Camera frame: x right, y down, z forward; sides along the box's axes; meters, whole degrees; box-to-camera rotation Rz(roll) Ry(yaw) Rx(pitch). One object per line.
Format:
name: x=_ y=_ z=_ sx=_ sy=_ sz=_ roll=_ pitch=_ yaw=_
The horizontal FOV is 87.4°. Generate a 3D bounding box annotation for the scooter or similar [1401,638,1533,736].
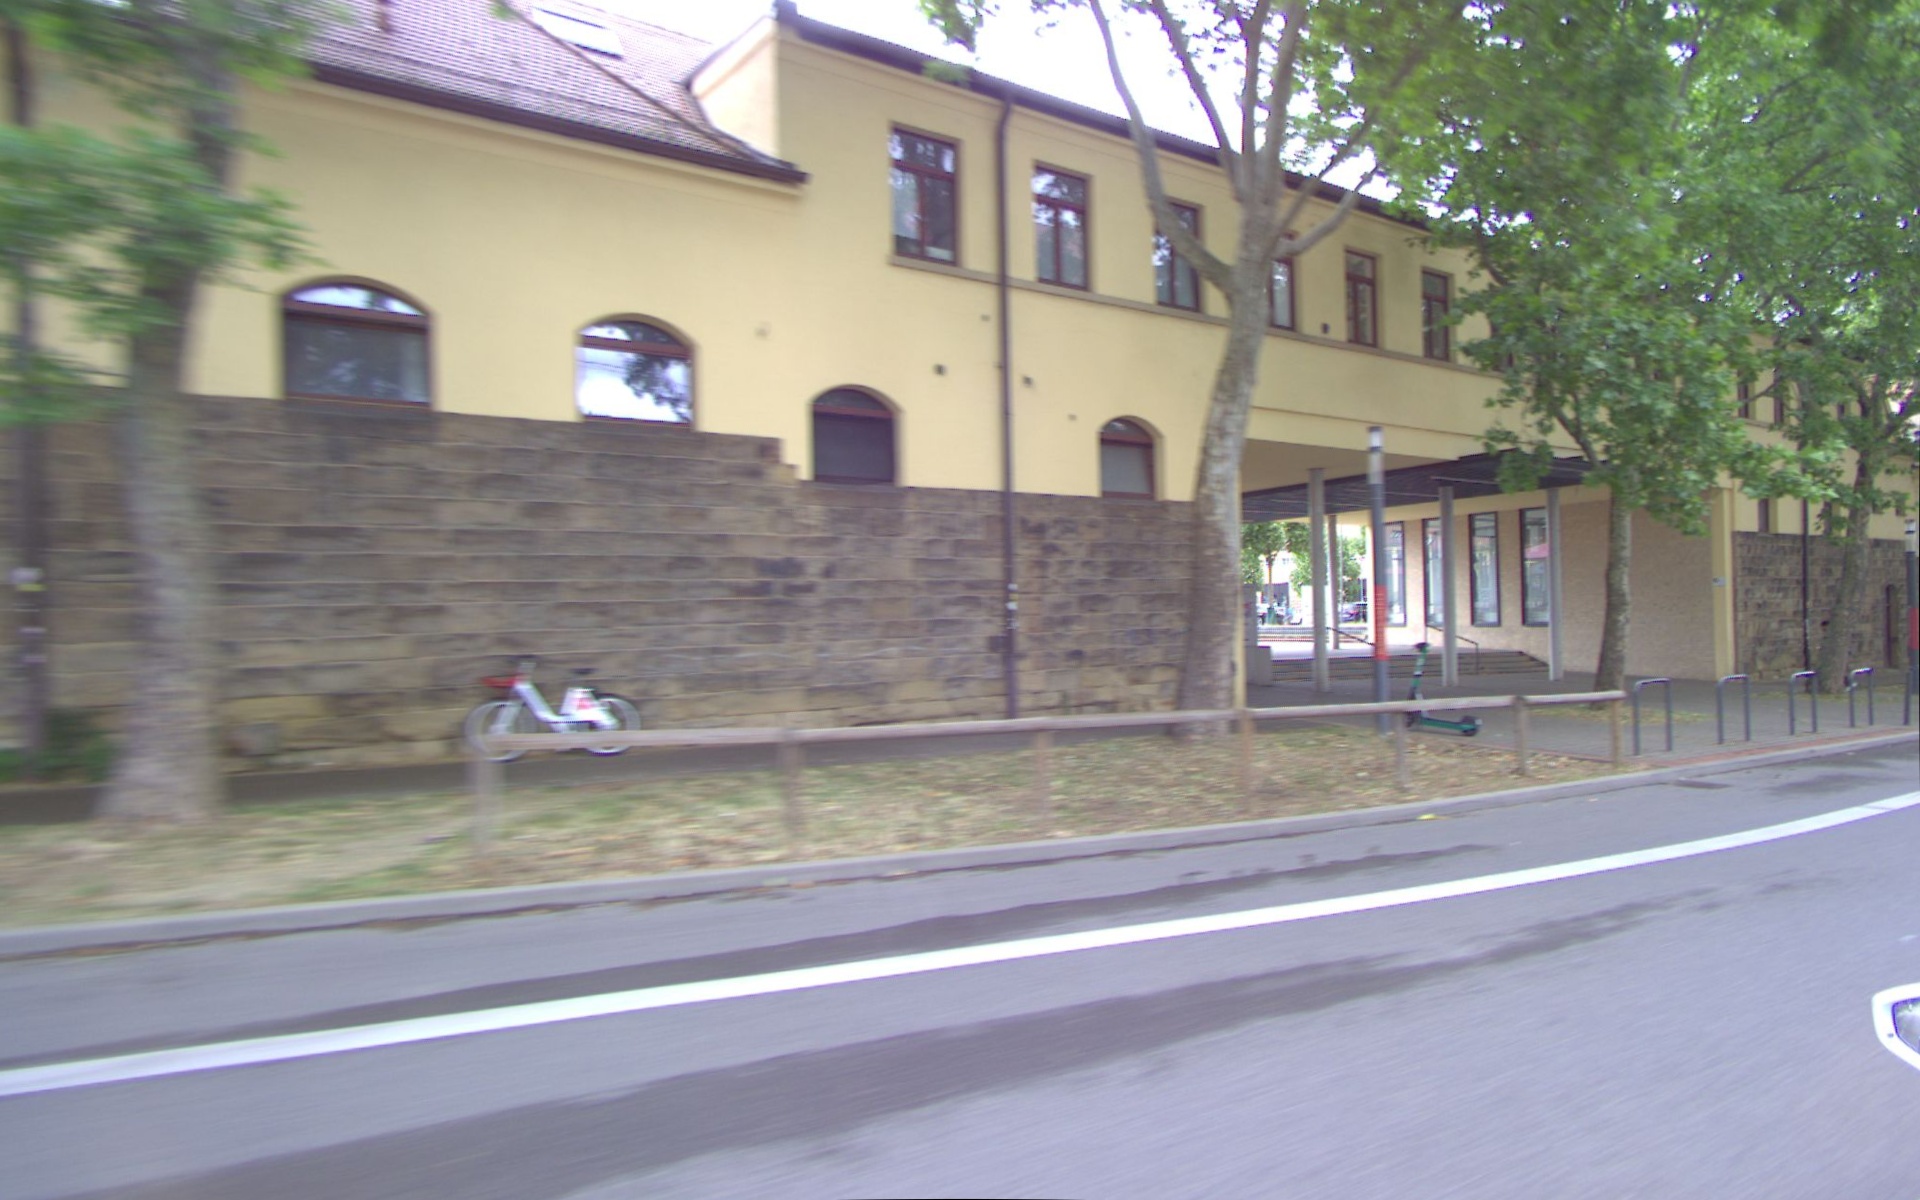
scooter or similar: x=7.163 y=1.200 z=14.228 sx=1.595 sy=1.257 sz=0.445 roll=1 pitch=0 yaw=37

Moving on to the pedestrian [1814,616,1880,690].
pedestrian: x=21.199 y=1.259 z=24.009 sx=0.913 sy=1.710 sz=0.860 roll=1 pitch=0 yaw=-22

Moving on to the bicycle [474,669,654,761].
bicycle: x=-4.172 y=1.188 z=10.659 sx=1.756 sy=0.857 sz=0.333 roll=1 pitch=-1 yaw=-32
